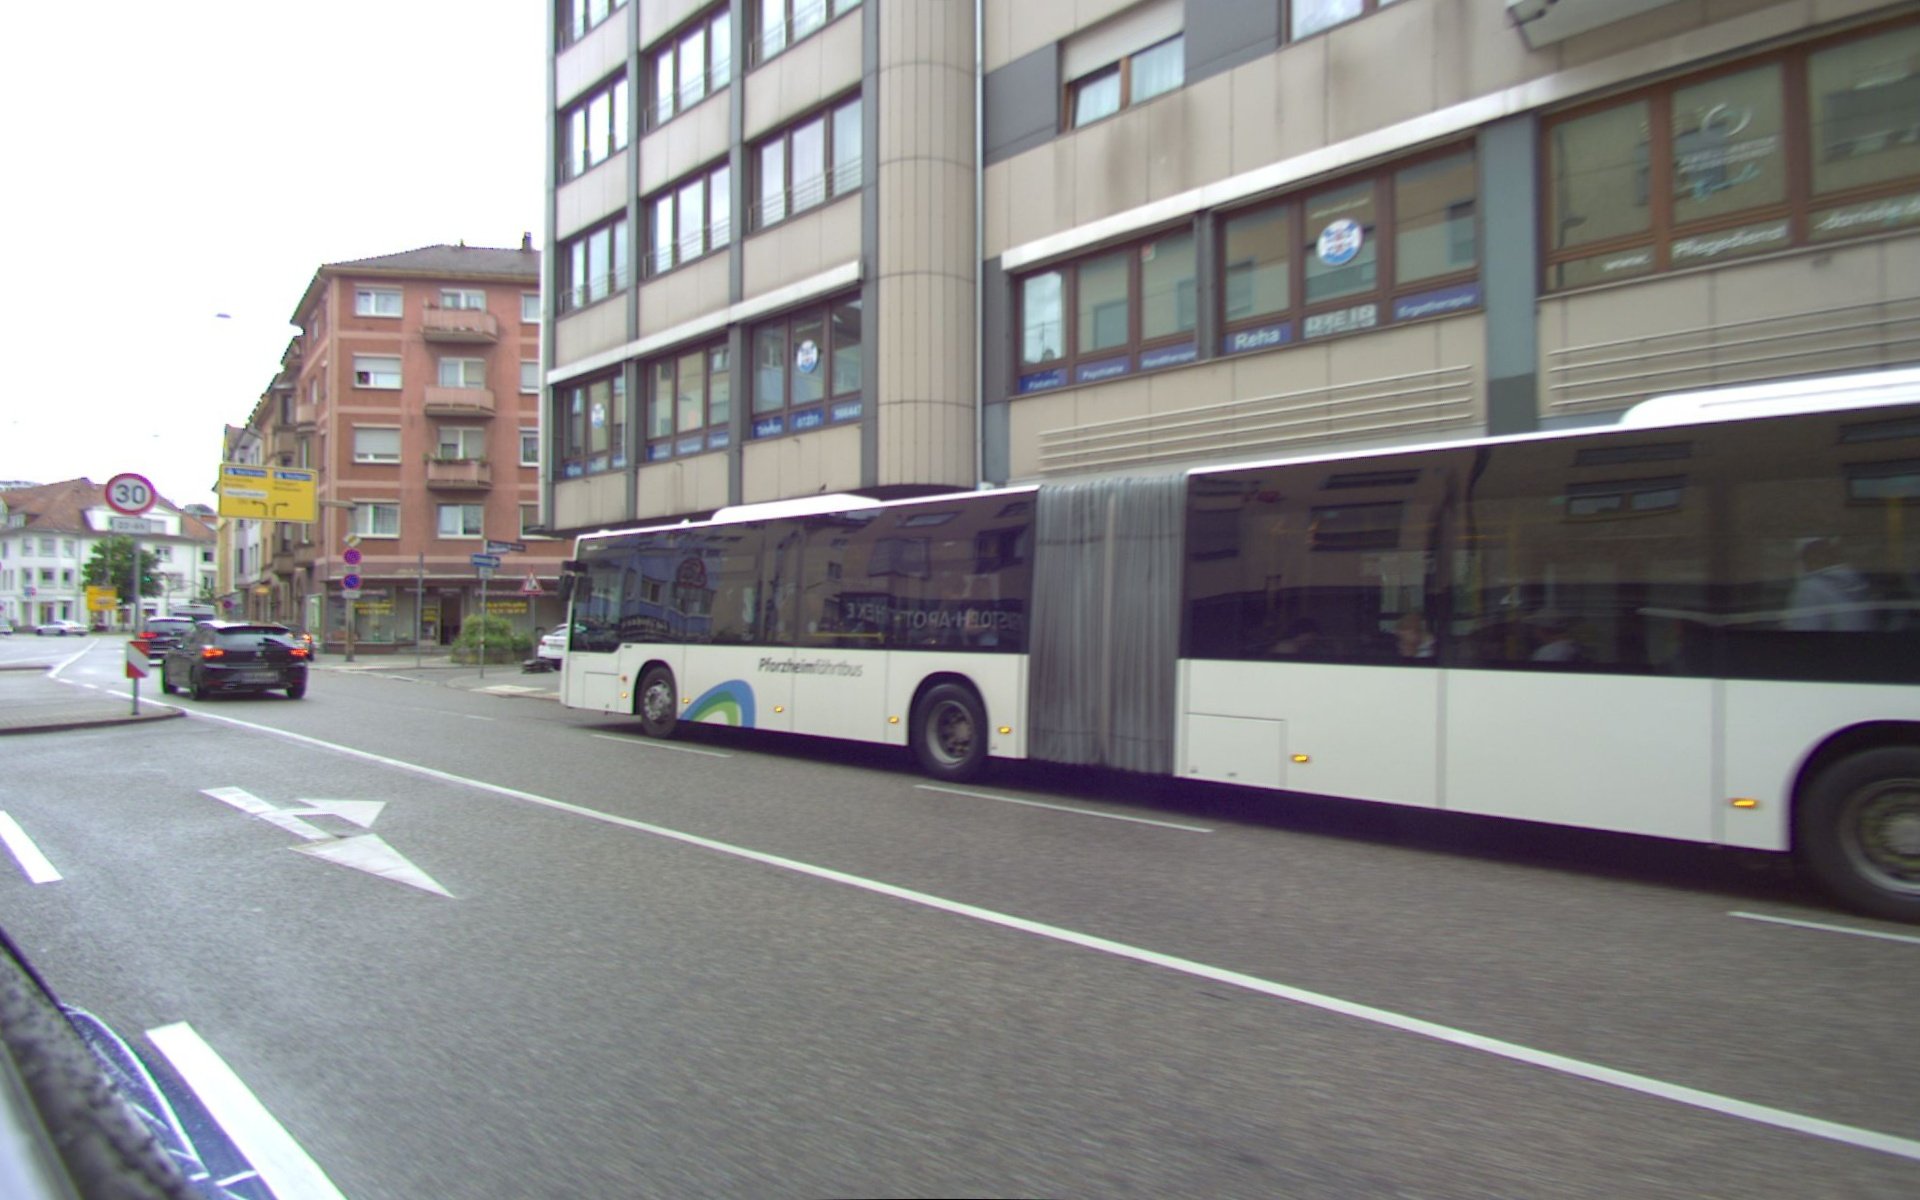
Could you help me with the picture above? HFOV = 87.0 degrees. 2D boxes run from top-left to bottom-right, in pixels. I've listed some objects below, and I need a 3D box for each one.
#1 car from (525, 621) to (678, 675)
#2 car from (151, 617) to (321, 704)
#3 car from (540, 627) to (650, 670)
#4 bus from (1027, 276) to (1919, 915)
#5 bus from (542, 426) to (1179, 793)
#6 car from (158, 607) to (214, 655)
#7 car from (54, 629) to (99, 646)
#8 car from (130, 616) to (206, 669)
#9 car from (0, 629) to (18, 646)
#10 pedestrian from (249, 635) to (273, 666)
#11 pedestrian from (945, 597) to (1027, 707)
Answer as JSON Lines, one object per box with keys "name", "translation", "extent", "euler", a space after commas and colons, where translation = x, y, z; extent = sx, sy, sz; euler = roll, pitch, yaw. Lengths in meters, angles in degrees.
{"name": "car", "translation": [-11.004, 1.432, 31.432], "extent": [1.894, 1.544, 4.607], "euler": [0, -1, 23]}
{"name": "car", "translation": [-13.772, 1.072, 19.178], "extent": [4.083, 1.462, 1.691], "euler": [-1, -2, 41]}
{"name": "car", "translation": [-13.407, 1.750, 37.316], "extent": [1.689, 1.494, 3.487], "euler": [0, -2, 33]}
{"name": "bus", "translation": [4.945, 0.006, 6.789], "extent": [9.289, 3.213, 2.697], "euler": [-1, -2, 42]}
{"name": "bus", "translation": [-1.863, 0.140, 12.853], "extent": [8.908, 3.213, 2.729], "euler": [-1, -2, 42]}
{"name": "car", "translation": [-41.573, 1.618, 54.303], "extent": [2.060, 2.454, 6.363], "euler": [2, -2, -40]}
{"name": "car", "translation": [-82.024, 3.496, 93.917], "extent": [4.545, 1.481, 1.927], "euler": [0, -2, 33]}
{"name": "car", "translation": [-26.752, 1.411, 34.148], "extent": [1.722, 1.674, 4.423], "euler": [2, -3, -41]}
{"name": "car", "translation": [-93.139, 3.595, 96.629], "extent": [4.454, 1.595, 1.950], "euler": [1, -1, -2]}
{"name": "pedestrian", "translation": [-38.911, 2.794, 56.322], "extent": [0.852, 1.691, 0.834], "euler": [-1, 1, 37]}
{"name": "pedestrian", "translation": [0.396, 0.769, 15.301], "extent": [0.835, 1.601, 0.935], "euler": [-1, -2, 44]}
